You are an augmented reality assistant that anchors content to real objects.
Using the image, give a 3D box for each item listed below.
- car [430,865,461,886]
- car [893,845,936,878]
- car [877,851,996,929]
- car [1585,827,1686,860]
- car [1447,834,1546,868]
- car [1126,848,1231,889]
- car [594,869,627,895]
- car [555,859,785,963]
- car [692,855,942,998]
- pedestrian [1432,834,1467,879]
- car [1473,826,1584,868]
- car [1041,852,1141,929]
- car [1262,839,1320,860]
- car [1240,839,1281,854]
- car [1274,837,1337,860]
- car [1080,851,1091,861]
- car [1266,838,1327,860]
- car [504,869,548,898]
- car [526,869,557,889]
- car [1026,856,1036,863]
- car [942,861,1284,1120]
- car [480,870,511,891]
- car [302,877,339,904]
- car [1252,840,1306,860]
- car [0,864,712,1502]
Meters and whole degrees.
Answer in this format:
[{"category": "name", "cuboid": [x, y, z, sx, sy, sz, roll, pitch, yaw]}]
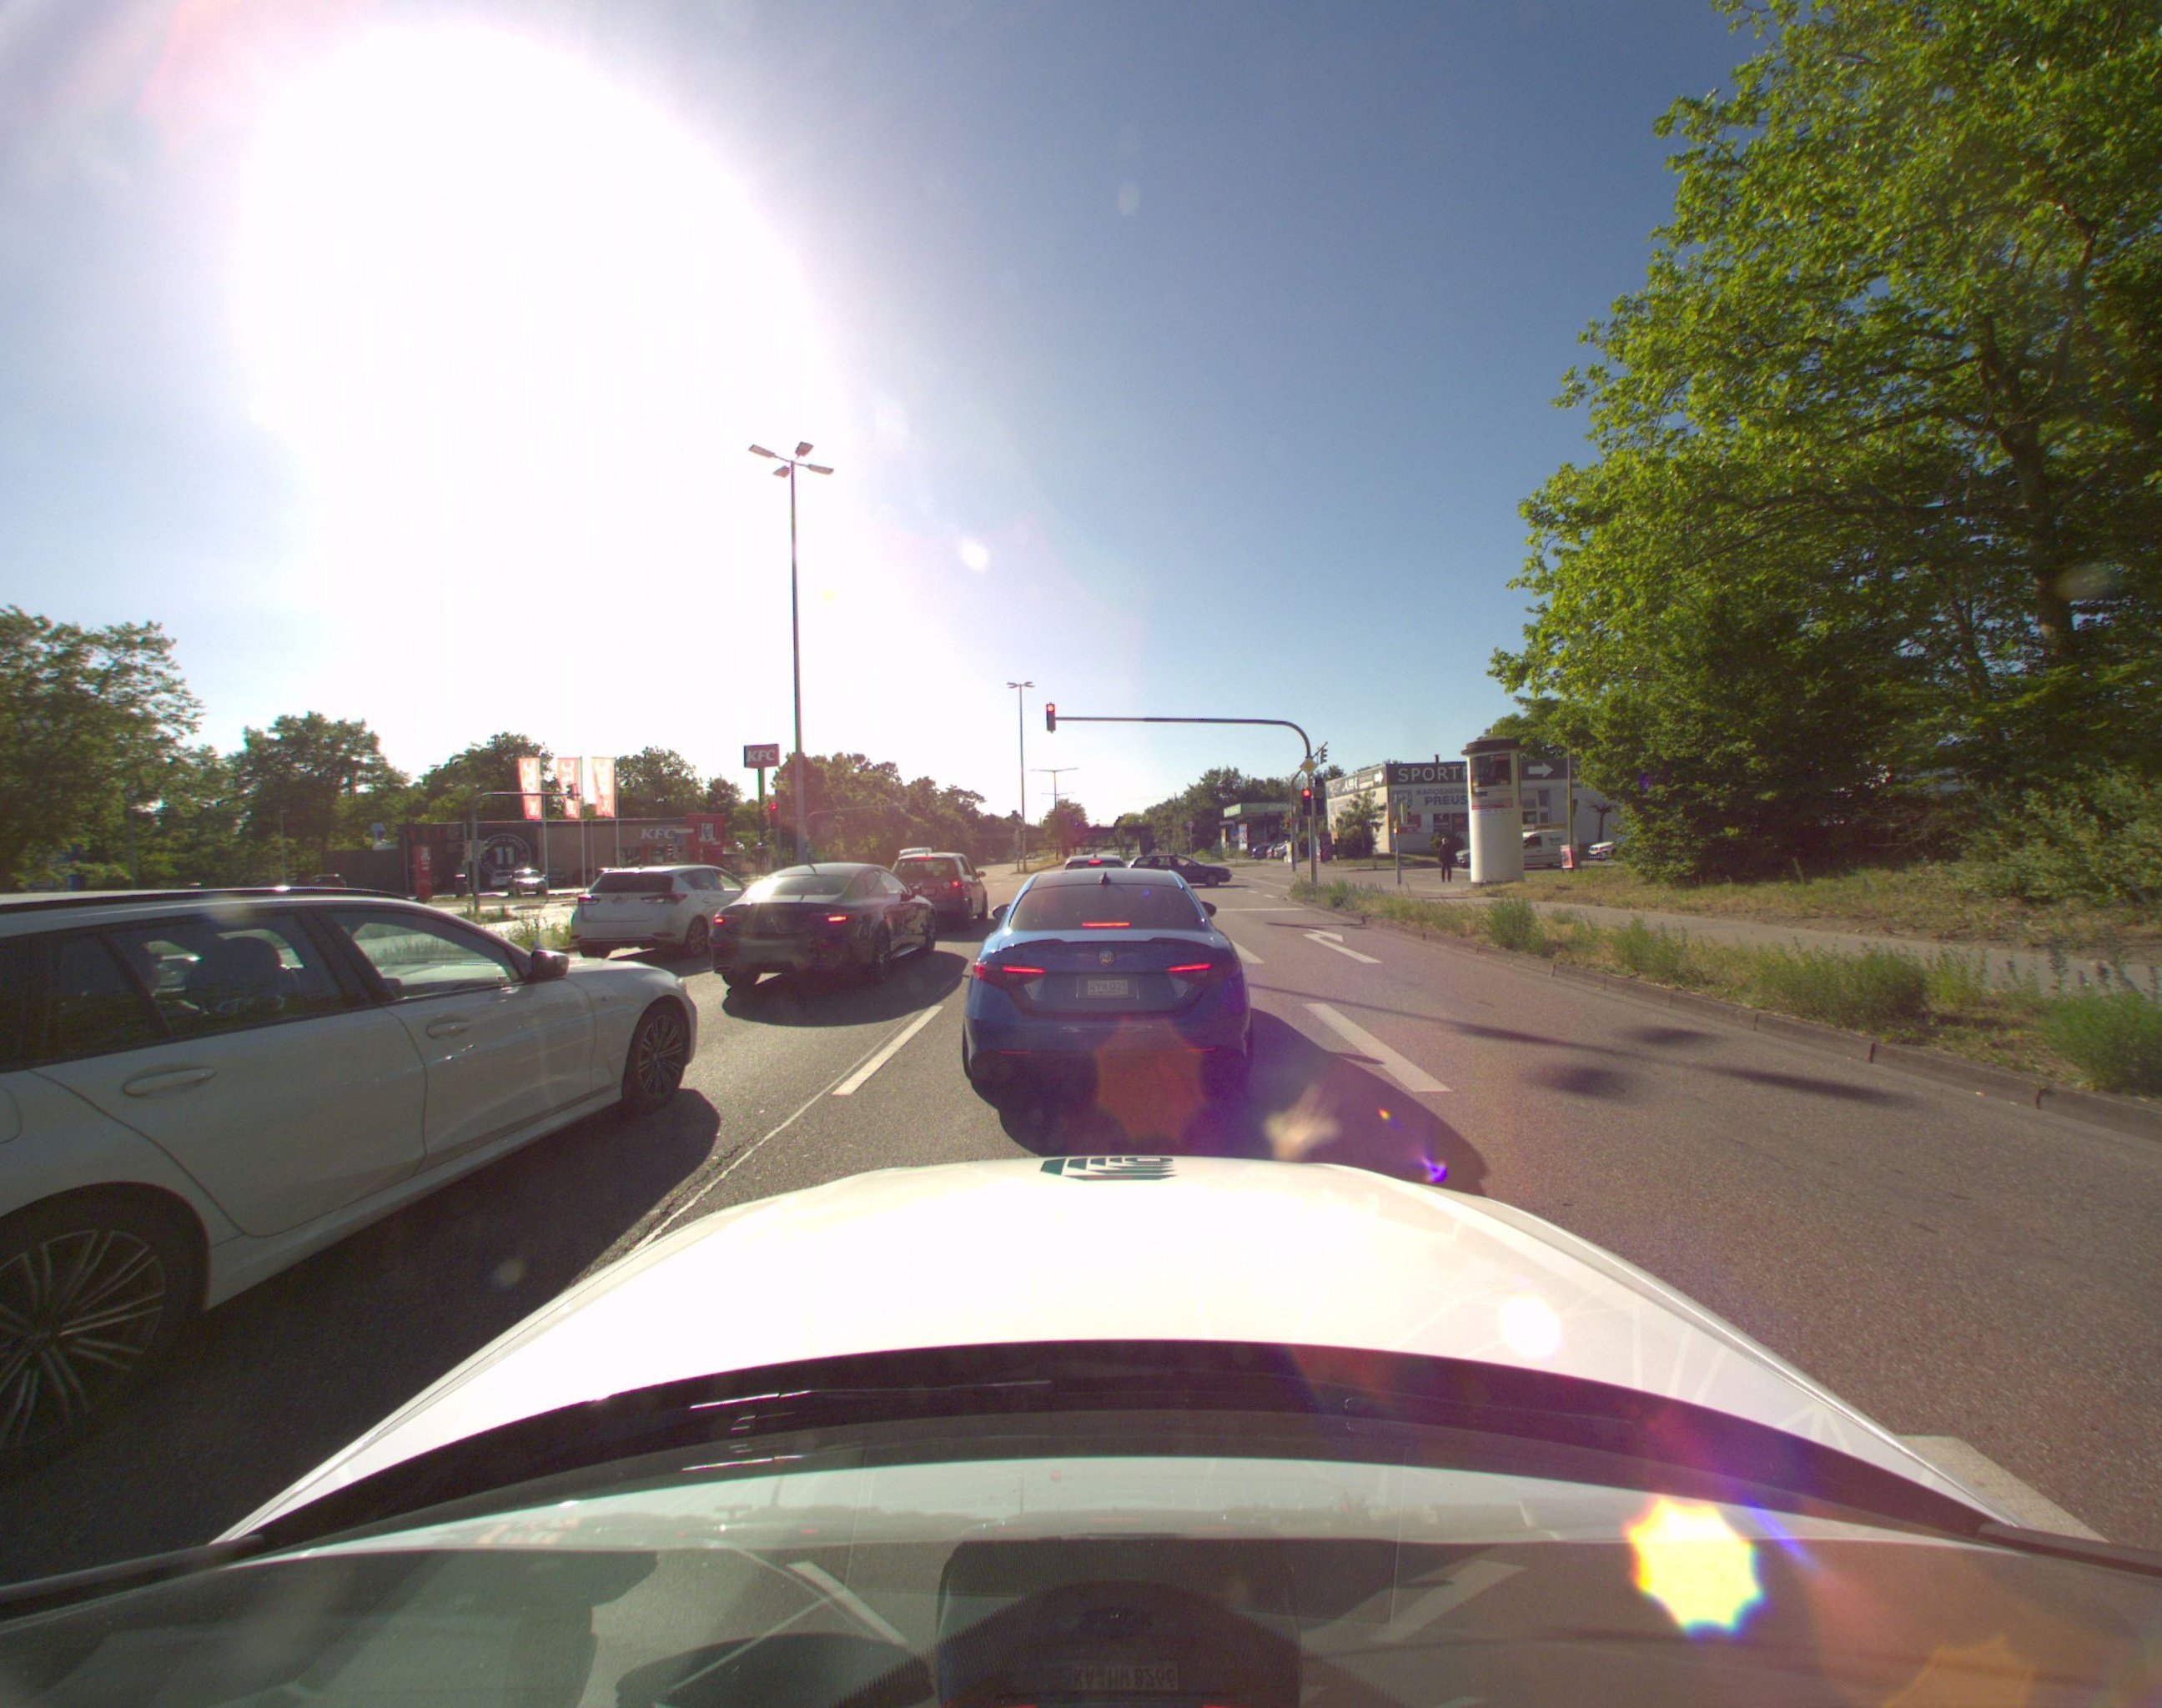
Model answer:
[{"category": "car", "cuboid": [-47.635, 1.577, 61.003, 1.670, 1.471, 3.872, 0, -1, -40]}, {"category": "car", "cuboid": [-13.675, 0.576, 67.404, 2.015, 2.447, 5.823, -5, 0, 1]}, {"category": "car", "cuboid": [-3.023, 0.719, 17.925, 1.753, 1.490, 4.403, 0, -1, 1]}, {"category": "car", "cuboid": [29.106, -0.541, 42.826, 4.028, 1.490, 1.782, -3, 0, -1]}, {"category": "car", "cuboid": [21.768, -0.195, 42.726, 4.273, 1.549, 1.765, -3, 1, 0]}, {"category": "car", "cuboid": [4.234, 0.638, 35.698, 4.392, 1.490, 1.766, -4, 0, 3]}, {"category": "car", "cuboid": [-33.664, 1.944, 58.354, 1.920, 1.752, 4.315, 0, -1, -29]}, {"category": "car", "cuboid": [-6.753, 0.848, 13.955, 1.753, 1.490, 4.197, 0, -1, 1]}, {"category": "car", "cuboid": [-3.169, 0.784, 10.823, 1.790, 1.490, 4.476, 0, -1, 1]}, {"category": "pedestrian", "cuboid": [14.294, 0.101, 31.610, 0.922, 1.735, 0.939, 0, -1, 1]}, {"category": "car", "cuboid": [21.596, -0.356, 39.370, 4.367, 1.801, 1.765, -3, 1, 0]}, {"category": "car", "cuboid": [0.219, 0.698, 17.370, 1.844, 1.418, 4.403, 0, 0, 1]}, {"category": "car", "cuboid": [17.988, -0.377, 69.864, 4.470, 1.454, 1.860, -4, 0, 3]}, {"category": "car", "cuboid": [21.391, -0.875, 97.027, 4.532, 1.490, 1.766, -4, 0, 3]}, {"category": "car", "cuboid": [17.705, -0.419, 64.334, 4.470, 1.454, 1.860, -4, 0, 3]}, {"category": "car", "cuboid": [0.911, 0.460, 153.156, 1.884, 1.816, 4.001, 0, -1, 2]}, {"category": "car", "cuboid": [17.711, -0.406, 67.115, 4.470, 1.454, 1.860, -4, 0, 3]}, {"category": "car", "cuboid": [-37.334, 1.950, 54.874, 2.005, 1.765, 4.315, 0, -1, -29]}, {"category": "car", "cuboid": [-43.143, 1.969, 65.073, 1.670, 1.471, 3.872, 0, -1, -40]}, {"category": "car", "cuboid": [-11.852, 1.270, 192.570, 1.752, 1.490, 4.480, -3, 0, 2]}, {"category": "car", "cuboid": [0.208, 0.776, 6.727, 1.889, 1.418, 4.403, 0, 0, 1]}, {"category": "car", "cuboid": [-45.635, 2.038, 63.420, 1.670, 1.471, 3.872, 0, -1, -40]}, {"category": "car", "cuboid": [-52.369, 2.478, 56.109, 1.670, 1.673, 3.897, 0, -1, -40]}, {"category": "car", "cuboid": [17.947, -0.349, 73.918, 4.470, 1.454, 1.860, -4, 0, 3]}, {"category": "car", "cuboid": [-3.426, 0.803, 3.318, 1.779, 1.490, 4.403, 0, -1, 1]}]
